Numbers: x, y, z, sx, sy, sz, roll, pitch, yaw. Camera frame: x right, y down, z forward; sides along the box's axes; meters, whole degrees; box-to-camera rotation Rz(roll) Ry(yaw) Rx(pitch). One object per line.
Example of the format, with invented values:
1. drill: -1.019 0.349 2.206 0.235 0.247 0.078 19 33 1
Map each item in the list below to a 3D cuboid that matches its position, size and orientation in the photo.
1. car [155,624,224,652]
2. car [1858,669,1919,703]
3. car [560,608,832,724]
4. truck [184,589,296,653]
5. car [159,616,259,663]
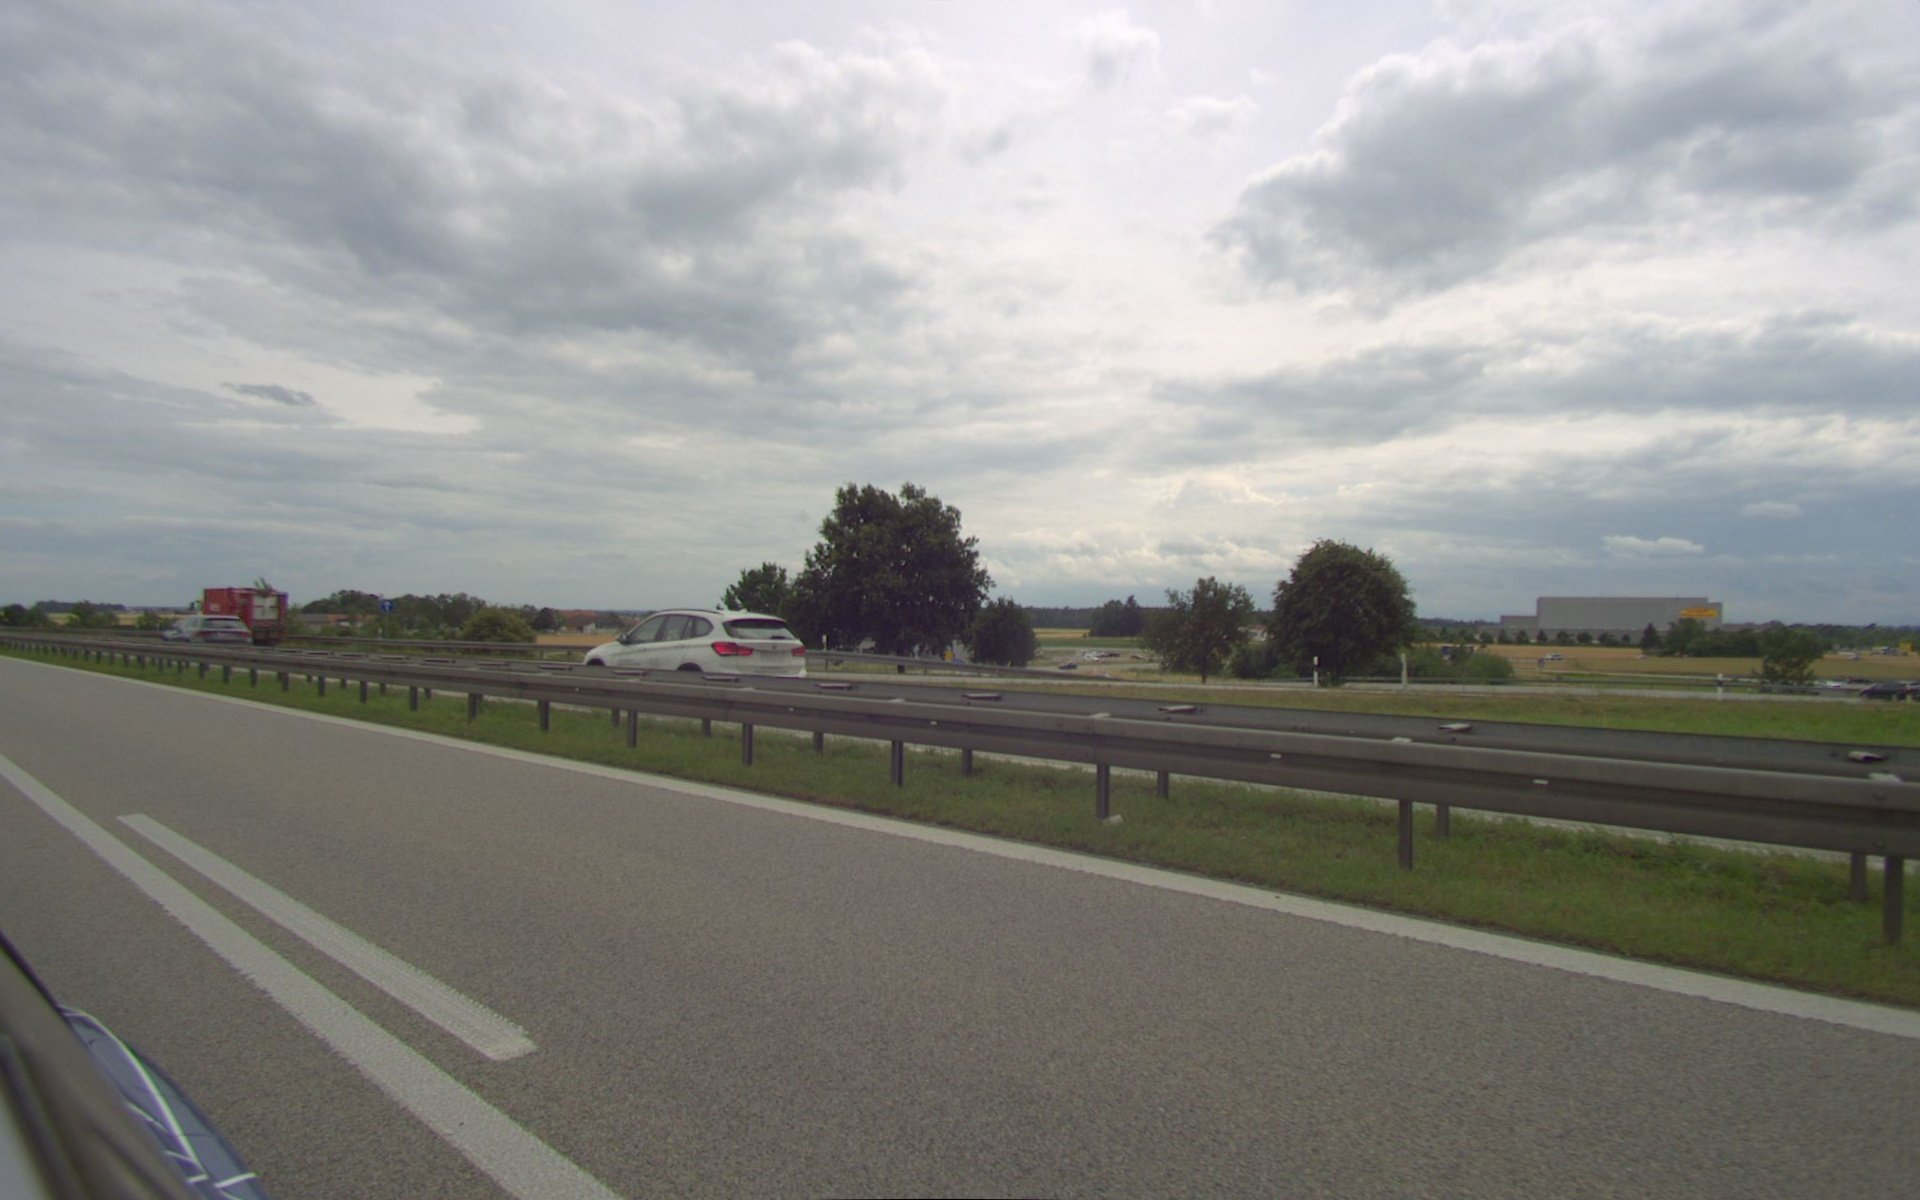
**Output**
1. car: -38.592 1.899 50.631 4.781 1.356 1.806 -1 -3 41
2. car: 64.822 5.928 70.014 1.975 2.029 3.993 -1 0 6
3. car: -4.362 0.984 16.282 4.814 1.600 1.834 -1 -3 41
4. truck: -43.605 1.277 61.079 11.068 3.563 2.641 -1 -4 40
5. car: -27.118 1.408 36.492 4.759 1.600 1.871 -1 -3 41
